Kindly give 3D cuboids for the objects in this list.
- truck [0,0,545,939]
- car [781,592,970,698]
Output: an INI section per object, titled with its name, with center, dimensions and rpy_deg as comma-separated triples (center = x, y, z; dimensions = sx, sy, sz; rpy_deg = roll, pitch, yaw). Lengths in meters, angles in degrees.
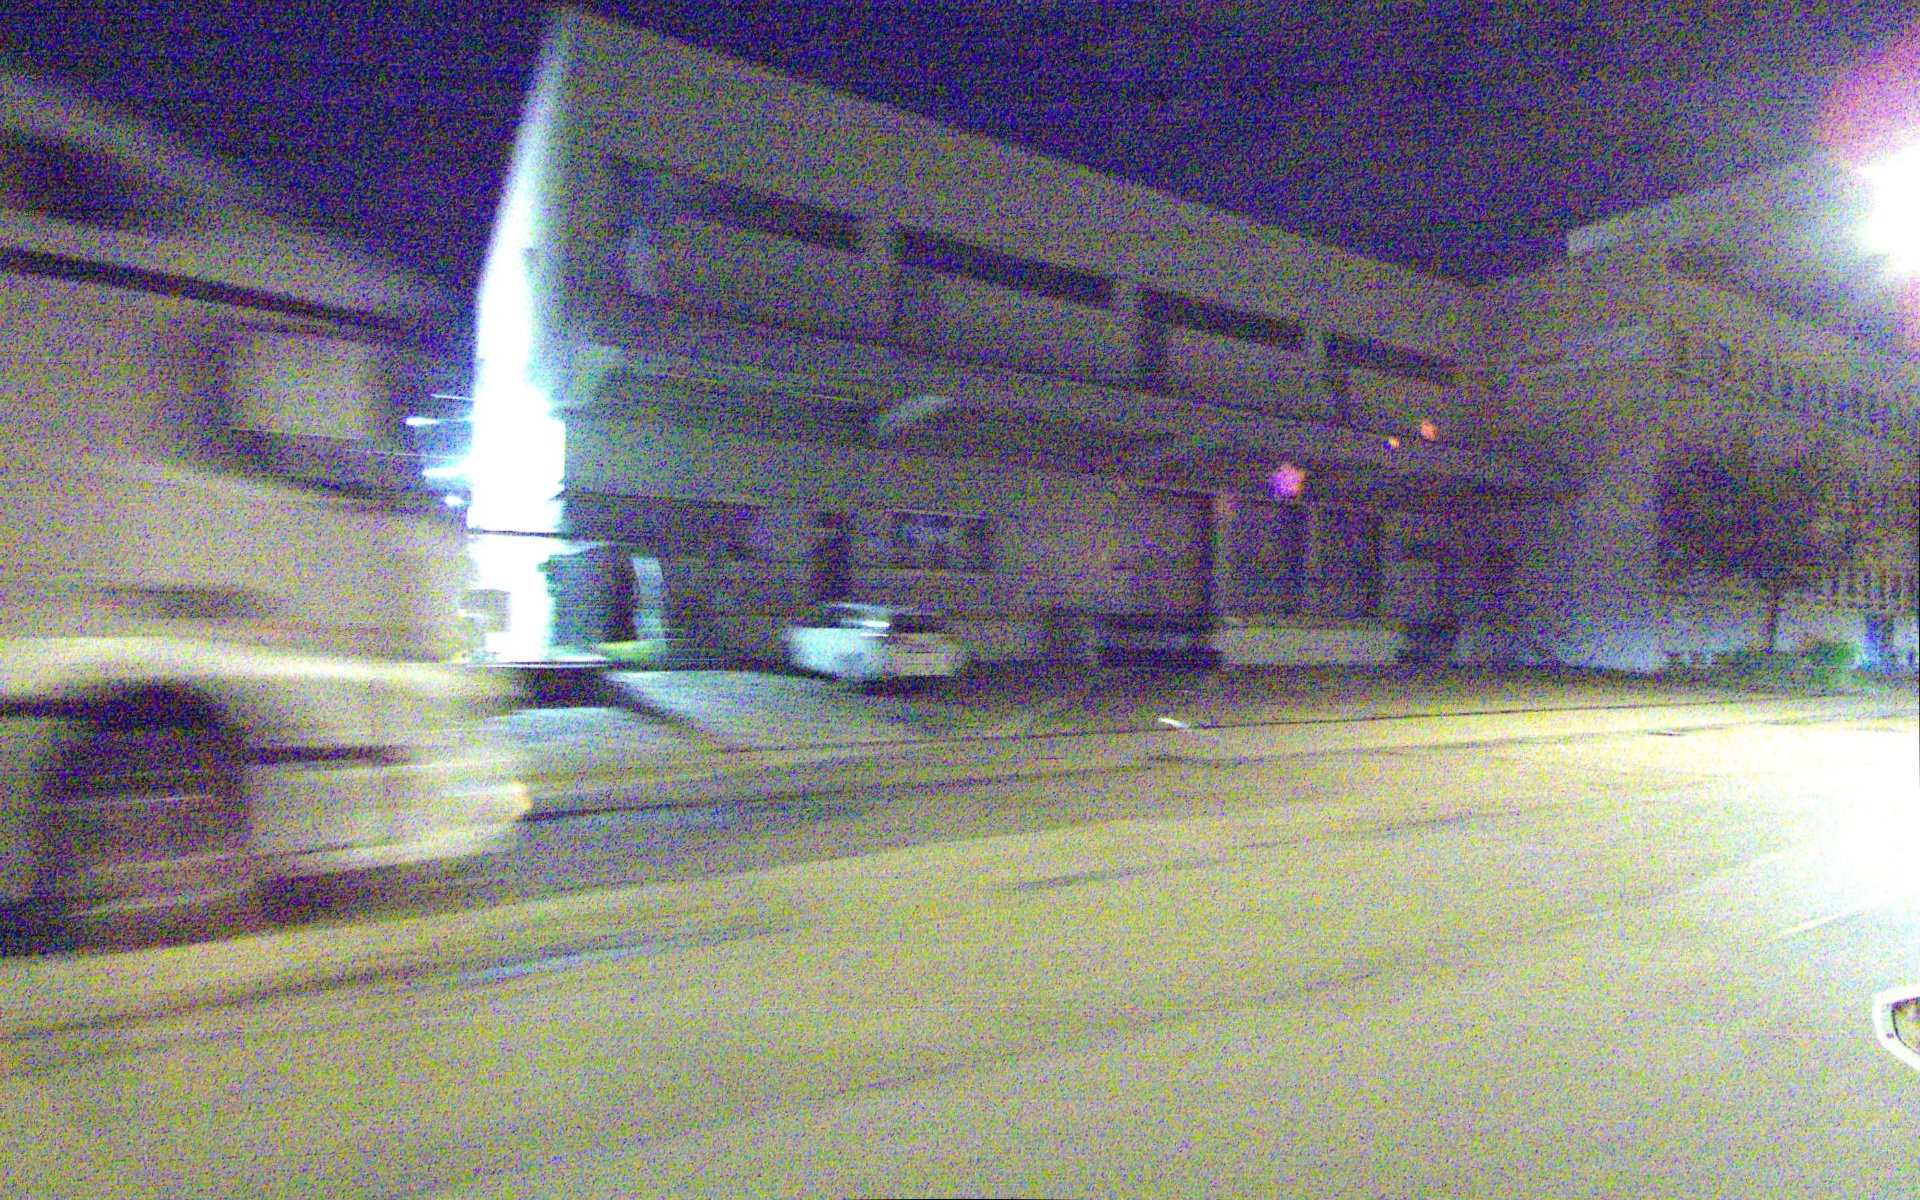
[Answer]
[truck]
center = -8.406, -0.915, 3.377
dimensions = 12.663, 4.370, 2.628
rpy_deg = 3, -3, -28
[car]
center = -1.649, 0.737, 18.274
dimensions = 1.786, 1.483, 3.964
rpy_deg = 2, 3, -32
